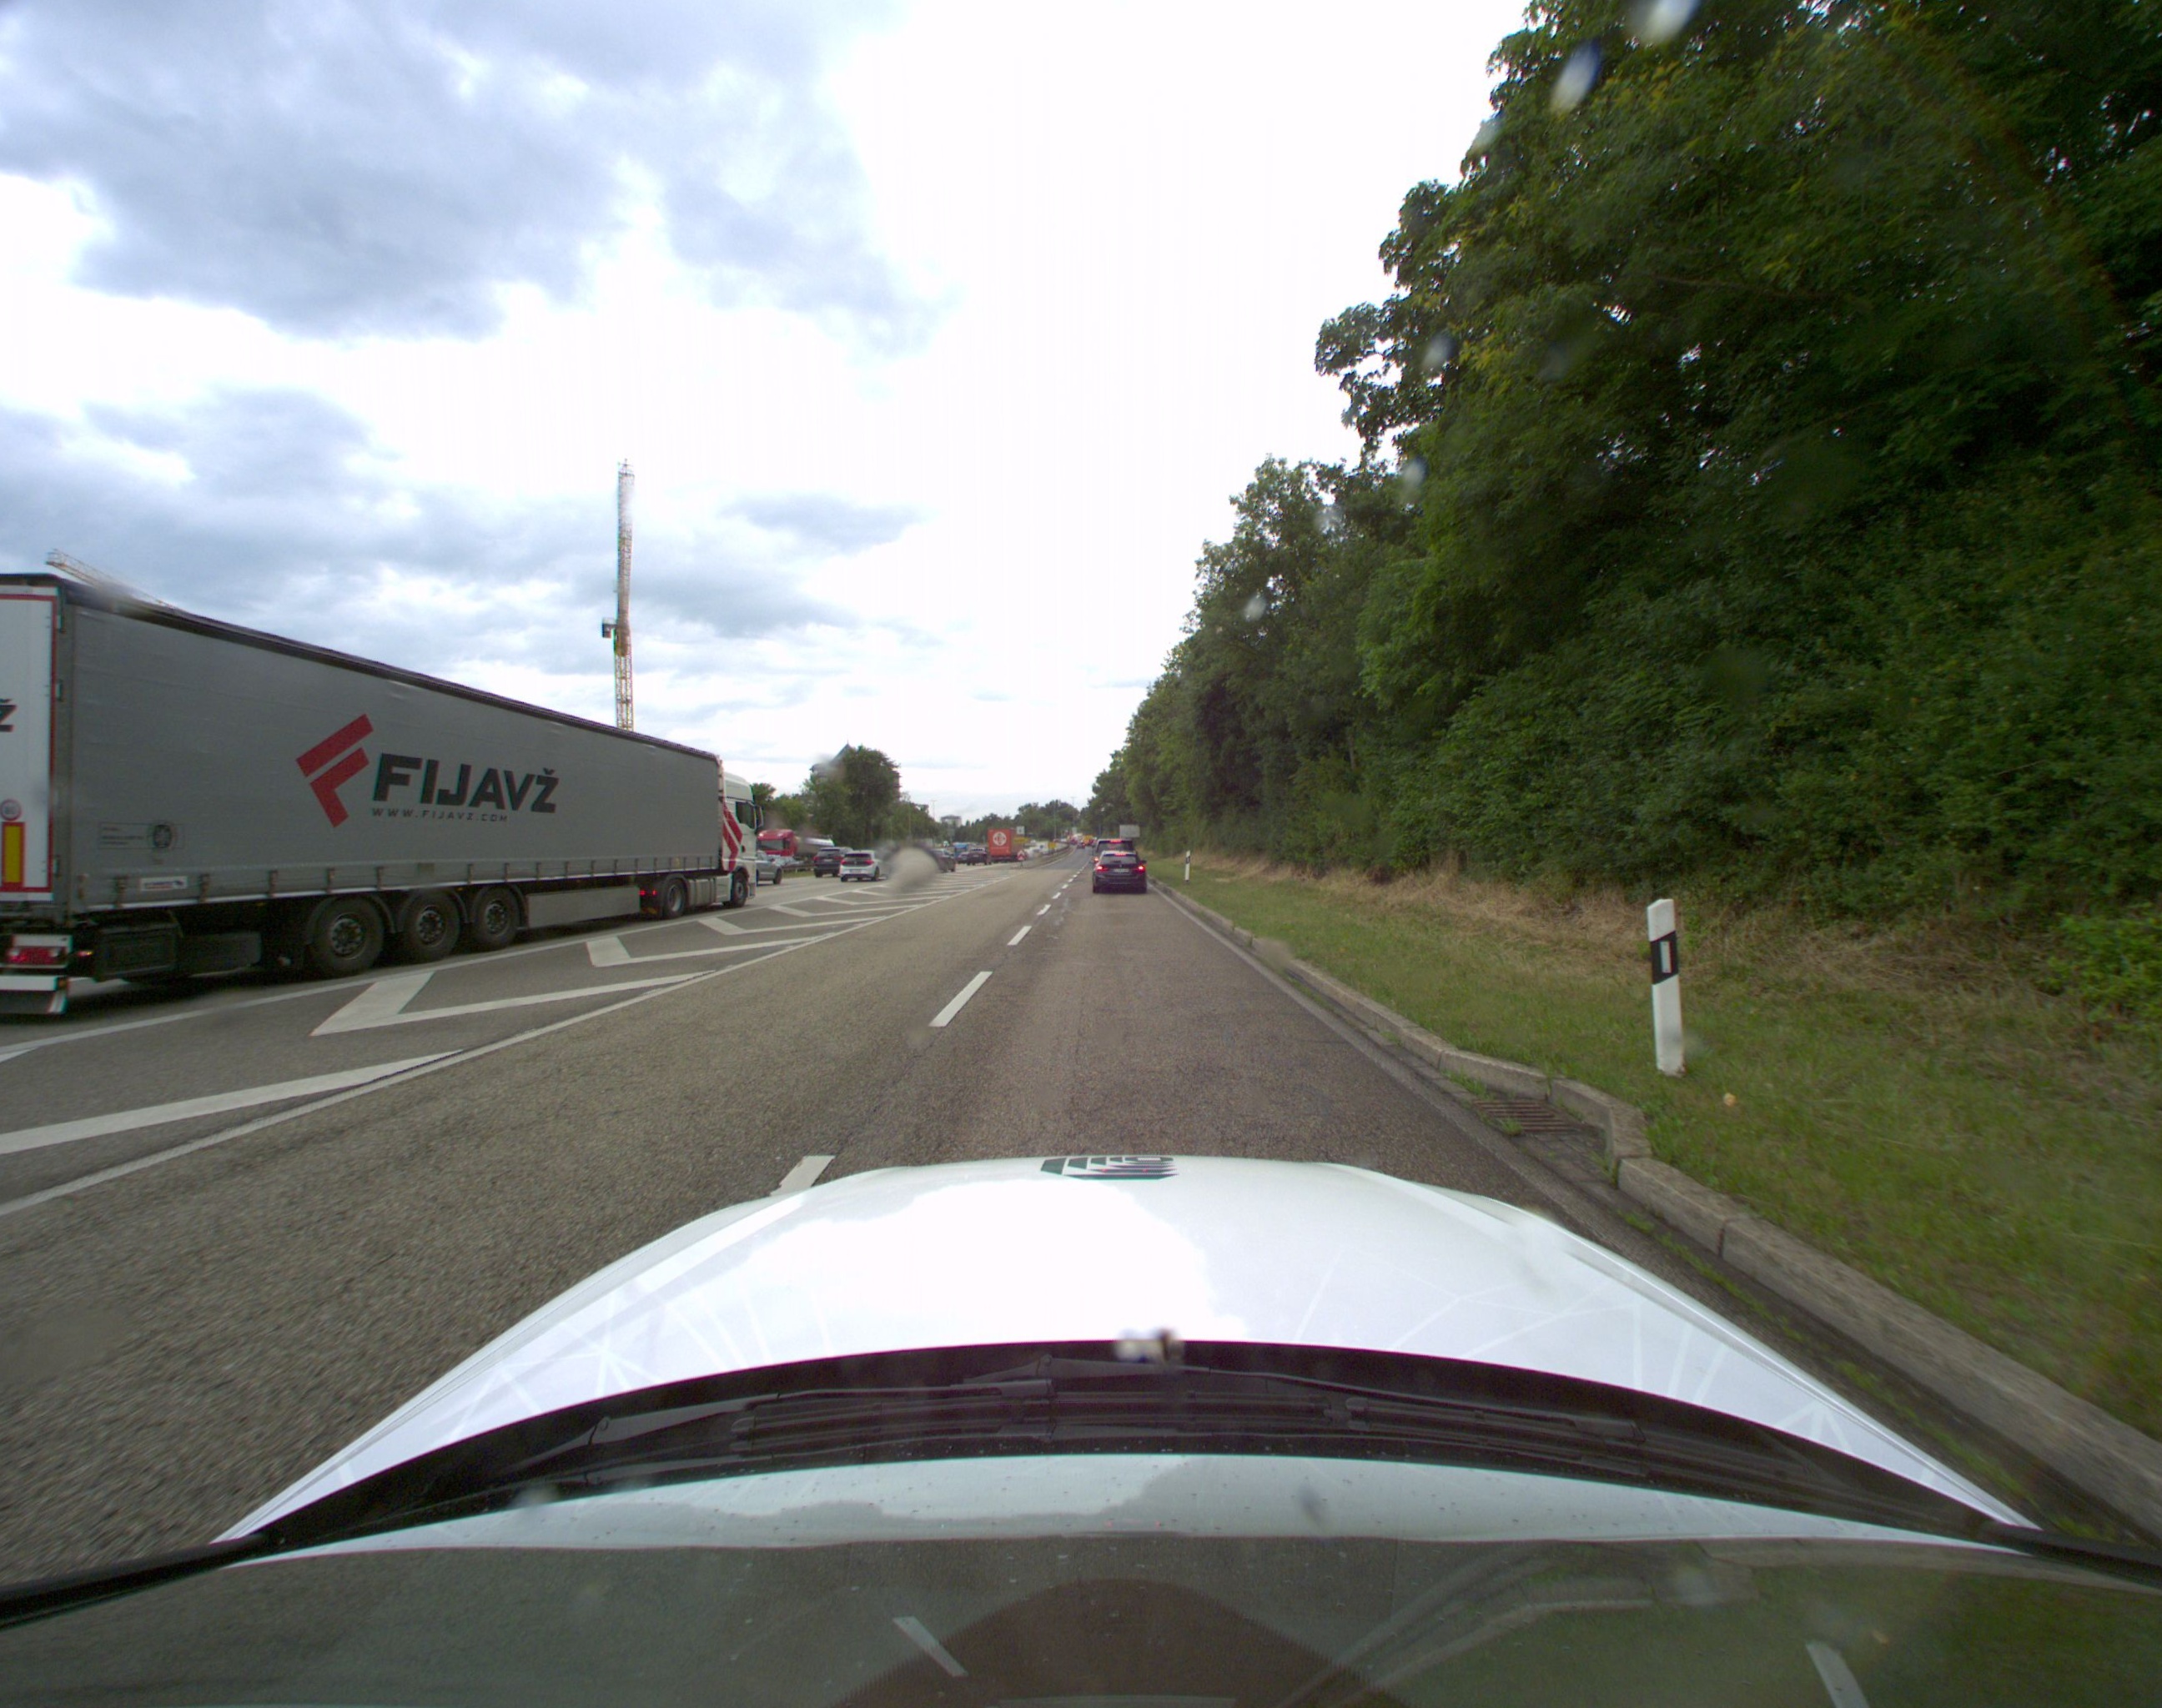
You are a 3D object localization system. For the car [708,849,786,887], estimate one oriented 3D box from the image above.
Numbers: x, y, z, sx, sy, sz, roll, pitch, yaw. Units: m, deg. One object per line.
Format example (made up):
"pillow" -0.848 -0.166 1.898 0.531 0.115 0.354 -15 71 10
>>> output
"car" -14.784 0.578 36.251 1.722 1.601 3.929 -1 0 2

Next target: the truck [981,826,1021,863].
"truck" -9.502 -1.068 98.170 3.479 4.073 13.588 -2 0 0

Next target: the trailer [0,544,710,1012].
"trailer" -10.639 -0.612 13.499 3.290 4.036 13.088 0 -1 -2

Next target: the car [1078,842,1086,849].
"car" 0.221 -1.761 177.659 1.819 1.482 3.999 -1 0 -1

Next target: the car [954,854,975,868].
"car" -13.704 0.826 96.181 1.853 1.618 4.000 0 -1 0

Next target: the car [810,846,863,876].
"car" -14.380 0.425 48.086 1.867 1.716 4.001 0 -1 1

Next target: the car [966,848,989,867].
"car" -10.128 0.315 79.918 1.855 1.816 3.997 0 -1 -2

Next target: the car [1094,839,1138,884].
"car" 1.490 0.329 35.530 1.816 1.822 4.001 0 -1 2

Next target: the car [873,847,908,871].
"car" -14.252 0.366 61.157 1.712 1.716 3.999 0 -1 0

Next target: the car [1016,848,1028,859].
"car" -8.766 -0.099 121.157 1.773 1.482 3.996 -1 0 -3

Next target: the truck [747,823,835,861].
"truck" -25.802 -0.906 73.603 3.056 3.083 14.660 0 -1 -2

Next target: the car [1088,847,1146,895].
"car" 1.196 0.541 28.342 1.819 1.482 4.000 -2 0 1

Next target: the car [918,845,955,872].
"car" -9.517 0.316 53.901 1.712 1.684 3.999 0 -1 0

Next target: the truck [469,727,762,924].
"truck" -10.732 -0.550 19.917 3.190 3.947 7.069 0 -1 -2

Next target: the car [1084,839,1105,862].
"car" 1.180 -0.300 72.485 1.600 2.013 3.997 -1 0 -2

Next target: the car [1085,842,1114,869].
"car" 1.413 0.085 63.478 1.988 2.013 3.997 -1 0 -2

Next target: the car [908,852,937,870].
"car" -14.427 0.640 74.346 1.853 1.618 4.000 0 -1 0

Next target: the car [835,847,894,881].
"car" -10.770 0.480 40.805 1.794 1.604 4.256 0 -1 0

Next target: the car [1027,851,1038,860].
"car" -7.777 0.245 130.583 1.552 1.552 3.816 0 -1 -1

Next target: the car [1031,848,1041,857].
"car" -8.090 -0.322 146.372 1.552 1.552 3.998 -1 0 -1
